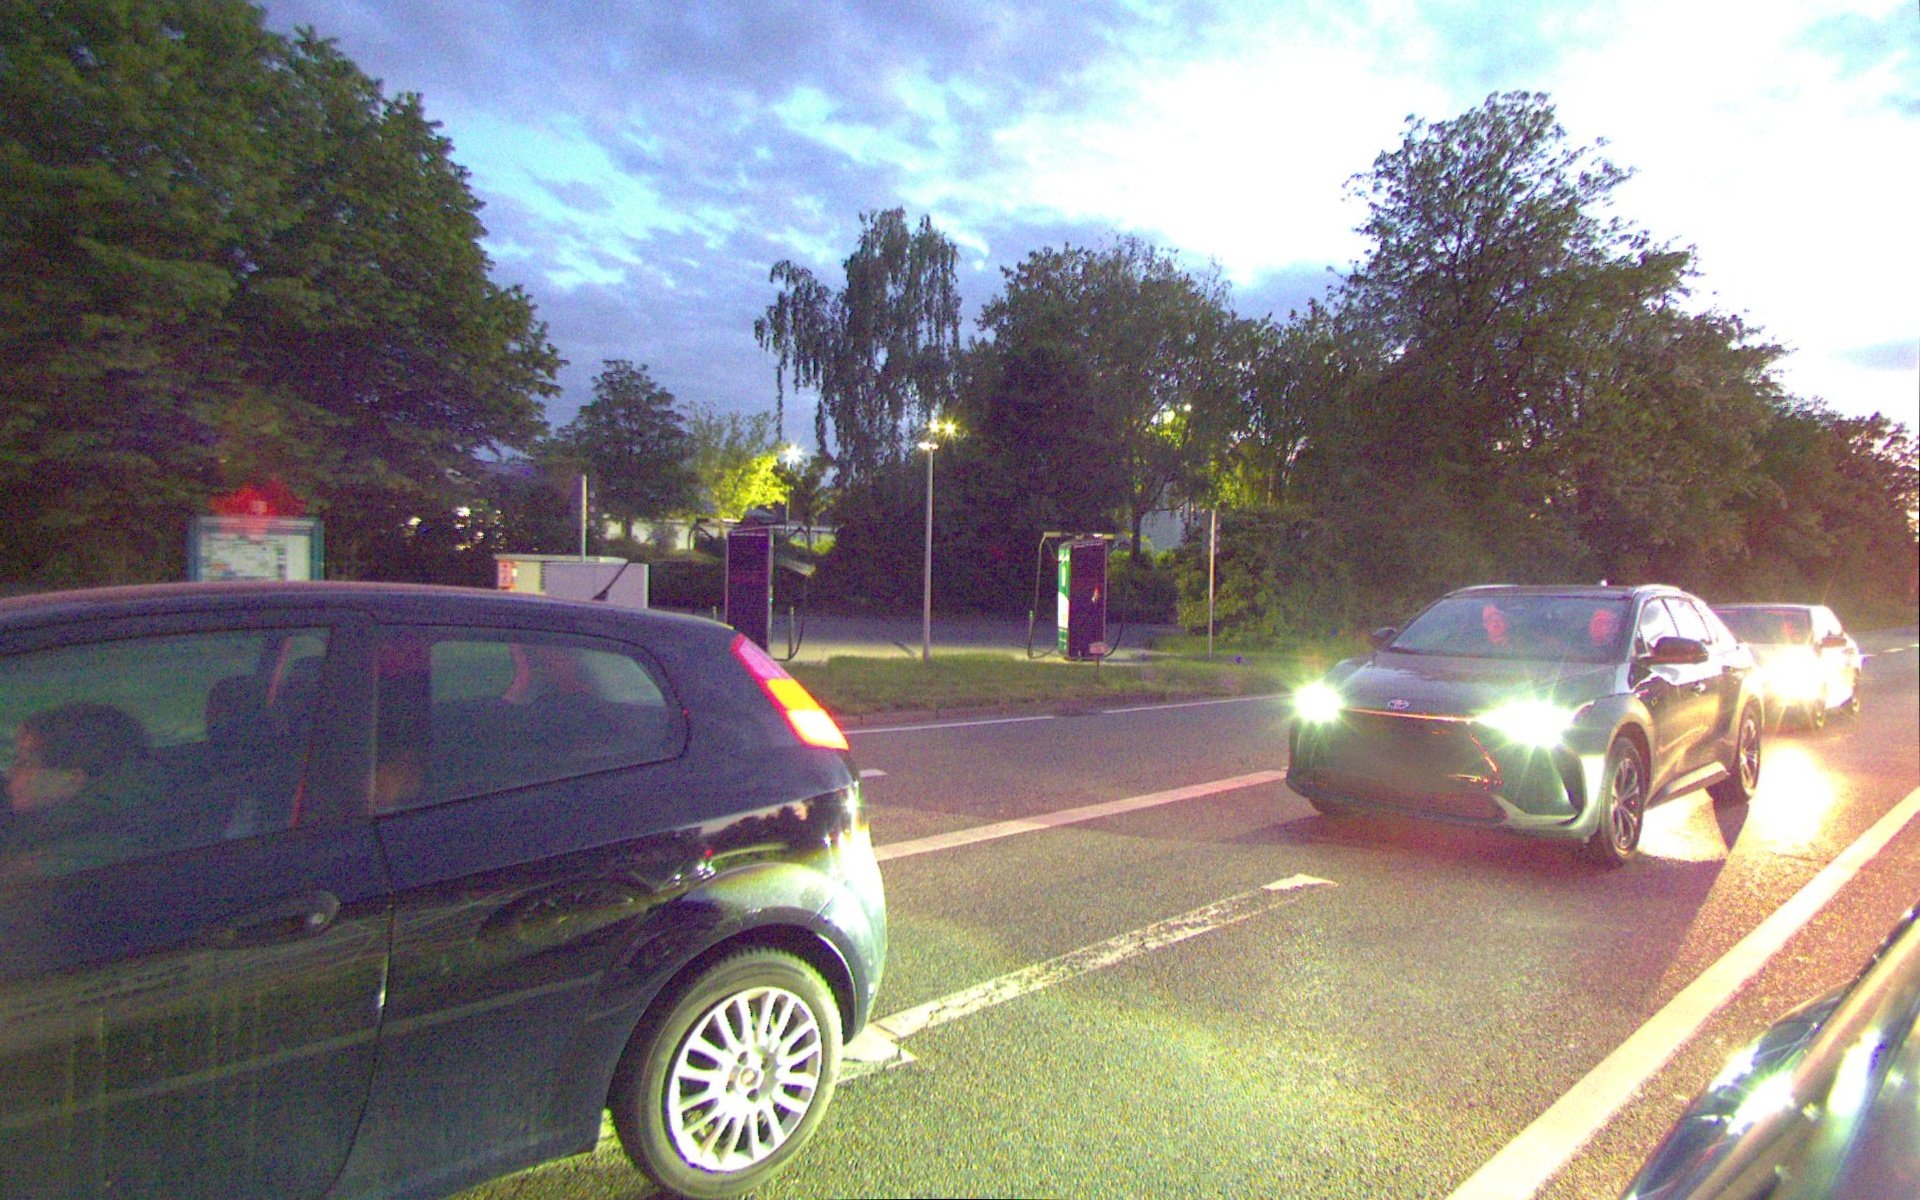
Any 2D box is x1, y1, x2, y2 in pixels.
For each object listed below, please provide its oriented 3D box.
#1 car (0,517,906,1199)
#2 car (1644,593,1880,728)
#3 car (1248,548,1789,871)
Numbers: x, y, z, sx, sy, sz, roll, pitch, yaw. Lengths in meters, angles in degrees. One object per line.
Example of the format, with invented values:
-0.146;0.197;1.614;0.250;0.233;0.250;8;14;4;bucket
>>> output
-2.071;0.636;2.205;3.649;1.556;1.662;-1;1;-40;car
10.215;0.671;12.807;3.688;1.431;1.621;1;1;-40;car
4.052;0.564;7.049;4.223;1.577;1.901;1;-1;-40;car
